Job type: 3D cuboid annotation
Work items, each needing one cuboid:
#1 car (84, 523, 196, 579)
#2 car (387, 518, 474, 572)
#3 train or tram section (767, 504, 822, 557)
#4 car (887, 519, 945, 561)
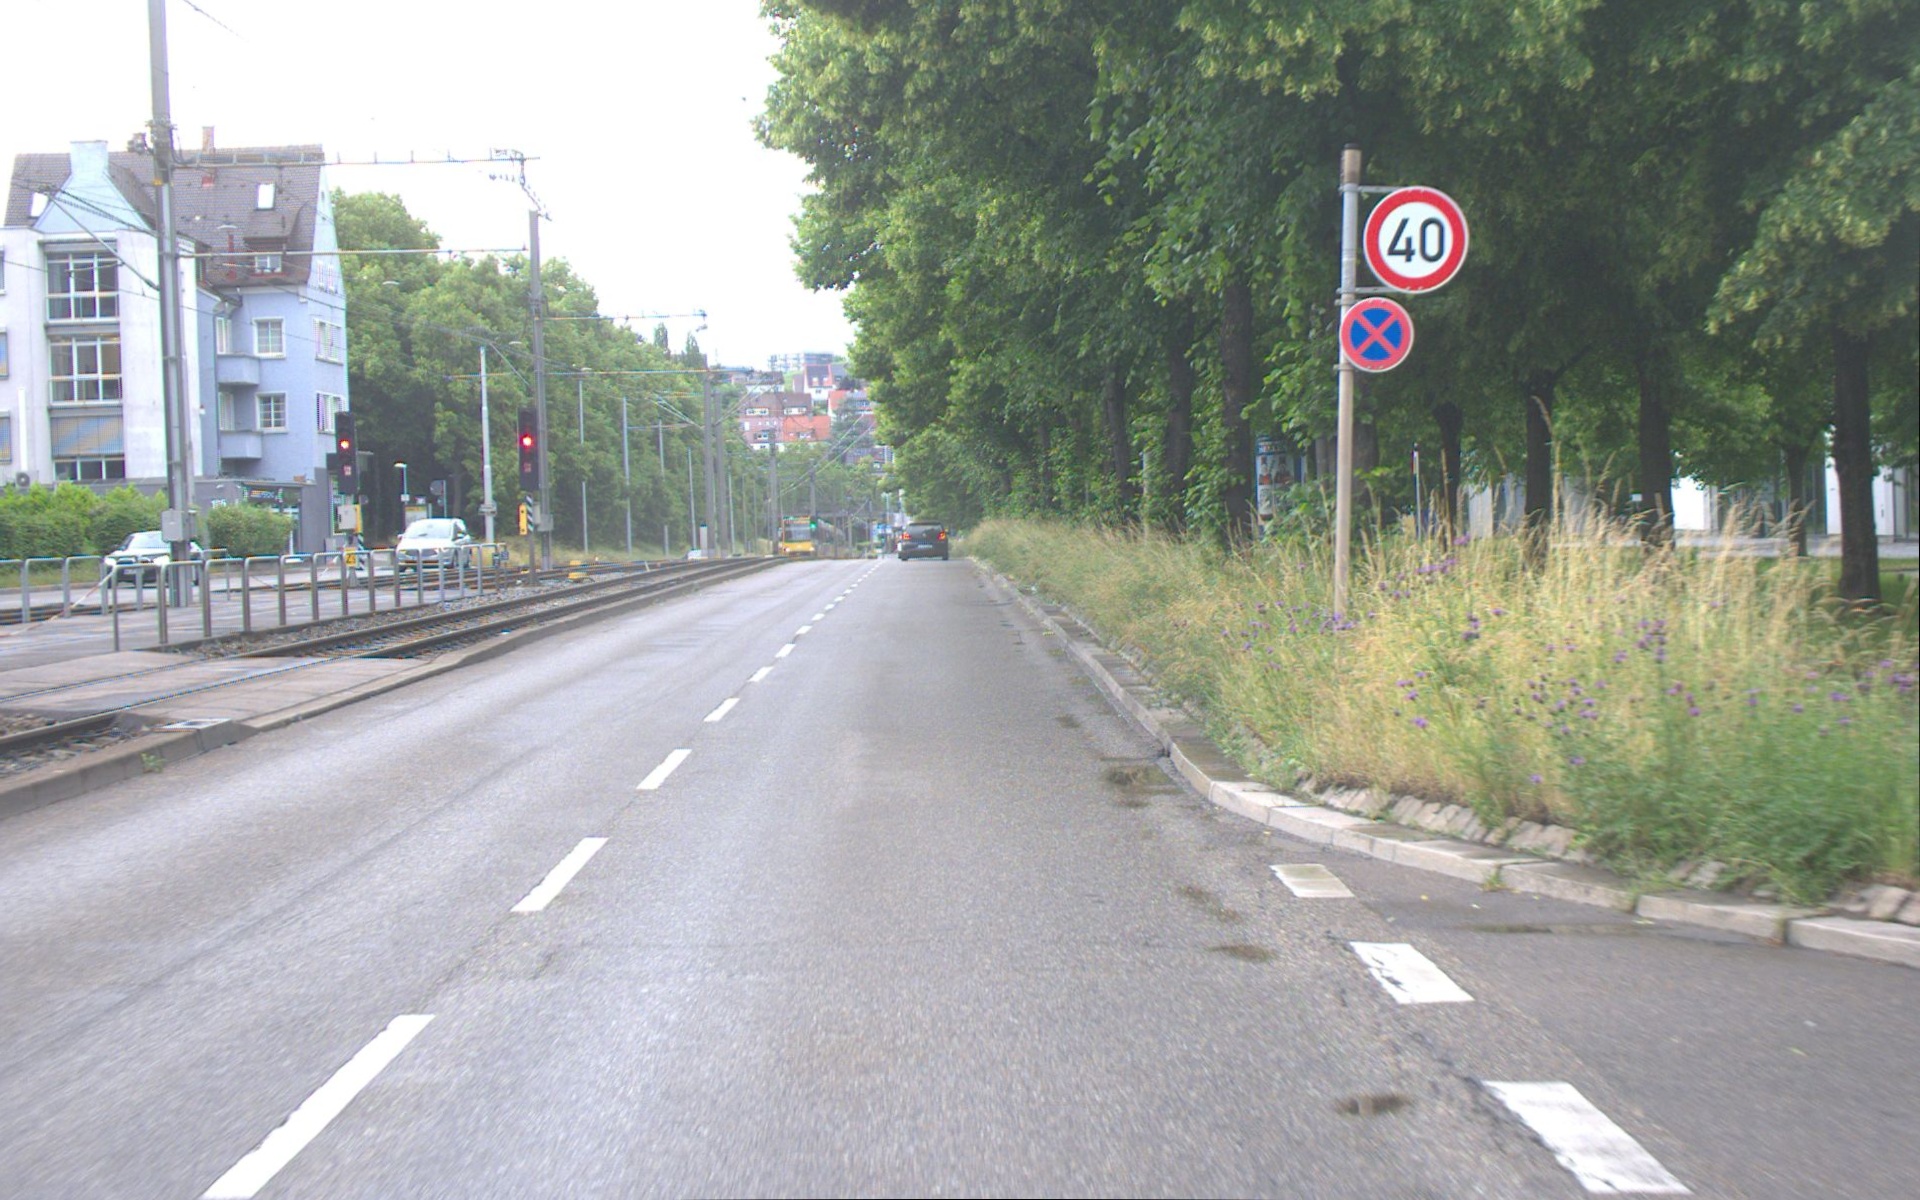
[{"bbox_3d":[-20.811,-1.249,87.396,1.798,1.342,4.259,-2,1,0],"label":"car"},{"bbox_3d":[-16.884,-1.784,109.796,1.902,1.639,4.884,-1,1,1],"label":"car"},{"bbox_3d":[-12.665,-5.266,264.481,3.214,3.783,14.789,-1,0,1],"label":"train or tram section"},{"bbox_3d":[-1.551,-2.147,122.172,1.982,1.435,4.474,-2,1,0],"label":"car"}]
